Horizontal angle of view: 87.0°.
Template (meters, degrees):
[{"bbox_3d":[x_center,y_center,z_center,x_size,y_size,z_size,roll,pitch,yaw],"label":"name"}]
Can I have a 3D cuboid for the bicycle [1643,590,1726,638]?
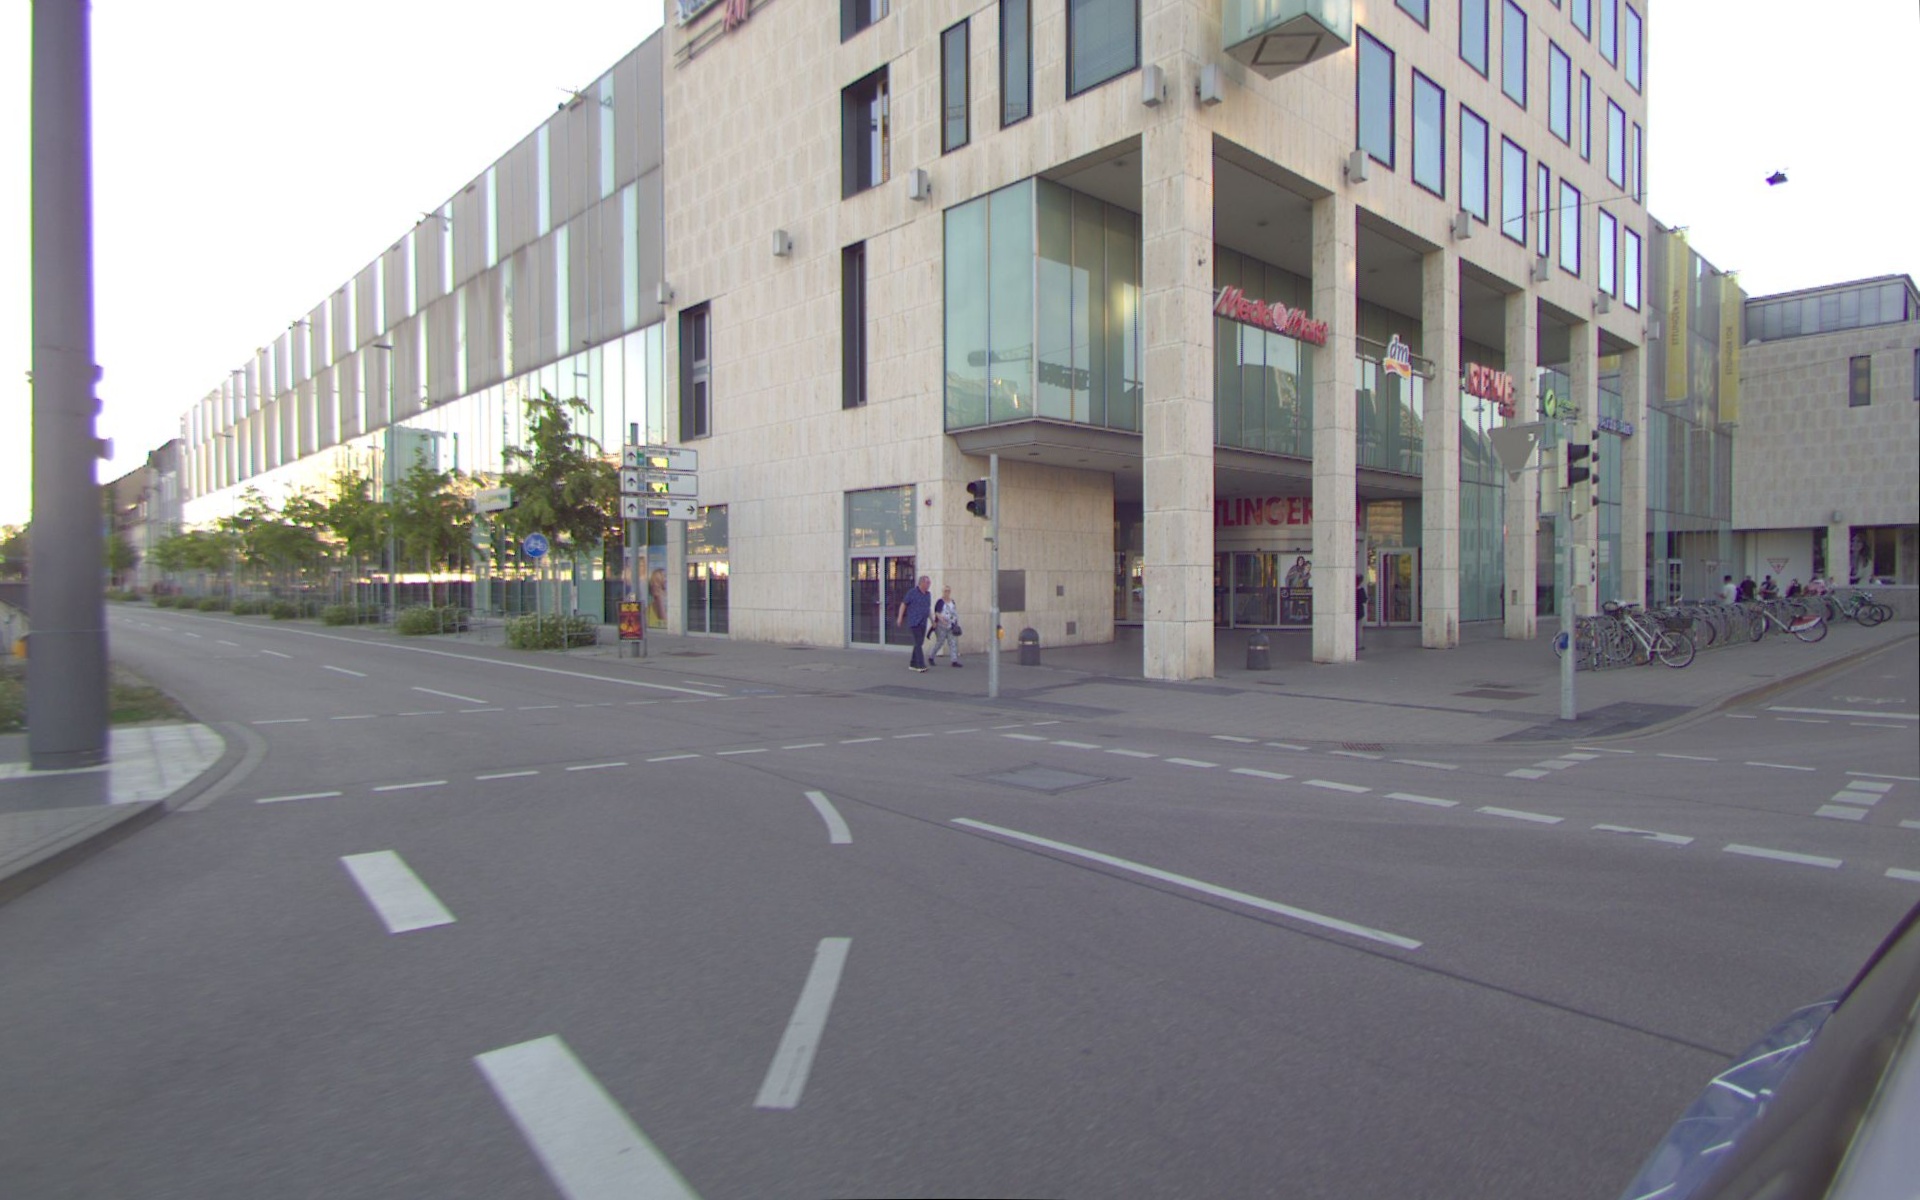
[{"bbox_3d":[17.456,0.353,24.412,0.543,1.120,1.515,-1,-1,-43],"label":"bicycle"}]

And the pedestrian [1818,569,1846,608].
[{"bbox_3d":[39.955,-0.519,46.371,0.924,1.765,0.793,-1,1,-39],"label":"pedestrian"}]

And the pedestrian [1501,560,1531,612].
[{"bbox_3d":[18.121,-0.475,32.977,0.695,1.672,0.629,-1,1,-40],"label":"pedestrian"}]

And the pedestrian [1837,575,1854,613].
[{"bbox_3d":[41.196,-0.287,47.084,0.645,1.765,0.494,-1,1,-39],"label":"pedestrian"}]

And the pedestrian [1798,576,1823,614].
[{"bbox_3d":[40.201,-0.263,47.815,0.645,1.765,0.793,-1,1,-39],"label":"pedestrian"}]

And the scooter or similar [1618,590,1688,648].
[{"bbox_3d":[15.042,0.389,21.985,1.194,1.214,0.485,1,1,45],"label":"scooter or similar"}]

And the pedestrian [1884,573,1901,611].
[{"bbox_3d":[43.023,-0.374,46.686,0.484,1.765,0.516,-1,1,-39],"label":"pedestrian"}]

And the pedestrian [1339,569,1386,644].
[{"bbox_3d":[9.171,0.137,23.064,0.696,1.659,0.792,-1,1,-42],"label":"pedestrian"}]

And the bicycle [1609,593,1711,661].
[{"bbox_3d":[13.157,0.479,19.062,0.538,1.198,1.484,-1,2,-36],"label":"bicycle"}]

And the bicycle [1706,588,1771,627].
[{"bbox_3d":[22.484,0.217,29.258,1.439,1.078,0.572,-2,-1,38],"label":"bicycle"}]

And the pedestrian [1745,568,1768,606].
[{"bbox_3d":[35.782,-0.579,45.445,0.738,1.668,0.808,1,1,43],"label":"pedestrian"}]

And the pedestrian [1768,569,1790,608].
[{"bbox_3d":[36.296,-0.535,44.856,0.696,1.717,0.807,1,1,44],"label":"pedestrian"}]

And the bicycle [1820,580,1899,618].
[{"bbox_3d":[28.992,-0.027,32.636,0.458,1.161,1.837,-1,-1,-40],"label":"bicycle"}]

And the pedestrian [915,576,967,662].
[{"bbox_3d":[-0.355,0.338,18.976,0.664,1.565,0.716,0,1,37],"label":"pedestrian"}]

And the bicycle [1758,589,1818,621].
[{"bbox_3d":[25.395,0.170,31.052,0.509,0.944,1.343,-1,-1,-42],"label":"bicycle"}]

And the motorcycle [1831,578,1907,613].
[{"bbox_3d":[32.955,-0.173,36.709,0.473,1.239,2.003,-1,2,-44],"label":"motorcycle"}]

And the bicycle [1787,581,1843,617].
[{"bbox_3d":[28.803,-0.038,34.109,0.509,1.178,1.343,-1,-1,-42],"label":"bicycle"}]

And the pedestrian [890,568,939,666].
[{"bbox_3d":[-0.832,0.291,18.361,0.664,1.746,0.582,0,1,37],"label":"pedestrian"}]

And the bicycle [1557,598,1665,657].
[{"bbox_3d":[13.011,0.532,20.265,1.767,1.092,0.475,1,2,42],"label":"bicycle"}]

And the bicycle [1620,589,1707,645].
[{"bbox_3d":[16.237,0.395,23.391,0.607,1.243,1.516,-1,-1,-42],"label":"bicycle"}]

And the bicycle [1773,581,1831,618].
[{"bbox_3d":[27.256,-0.009,32.764,0.509,1.178,1.343,-1,-1,-42],"label":"bicycle"}]

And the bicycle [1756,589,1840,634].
[{"bbox_3d":[20.737,0.289,25.069,0.458,1.077,1.517,-1,-1,-40],"label":"bicycle"}]

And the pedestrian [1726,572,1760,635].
[{"bbox_3d":[21.674,0.072,28.000,0.705,1.713,0.620,1,1,41],"label":"pedestrian"}]

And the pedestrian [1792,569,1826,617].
[{"bbox_3d":[29.929,-0.260,35.667,0.801,1.663,0.640,0,1,30],"label":"pedestrian"}]

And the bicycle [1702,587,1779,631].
[{"bbox_3d":[20.876,0.249,27.097,0.570,1.138,1.518,-1,-1,-37],"label":"bicycle"}]

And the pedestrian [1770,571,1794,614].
[{"bbox_3d":[34.496,-0.324,42.453,0.798,1.802,0.619,-1,1,-39],"label":"pedestrian"}]
